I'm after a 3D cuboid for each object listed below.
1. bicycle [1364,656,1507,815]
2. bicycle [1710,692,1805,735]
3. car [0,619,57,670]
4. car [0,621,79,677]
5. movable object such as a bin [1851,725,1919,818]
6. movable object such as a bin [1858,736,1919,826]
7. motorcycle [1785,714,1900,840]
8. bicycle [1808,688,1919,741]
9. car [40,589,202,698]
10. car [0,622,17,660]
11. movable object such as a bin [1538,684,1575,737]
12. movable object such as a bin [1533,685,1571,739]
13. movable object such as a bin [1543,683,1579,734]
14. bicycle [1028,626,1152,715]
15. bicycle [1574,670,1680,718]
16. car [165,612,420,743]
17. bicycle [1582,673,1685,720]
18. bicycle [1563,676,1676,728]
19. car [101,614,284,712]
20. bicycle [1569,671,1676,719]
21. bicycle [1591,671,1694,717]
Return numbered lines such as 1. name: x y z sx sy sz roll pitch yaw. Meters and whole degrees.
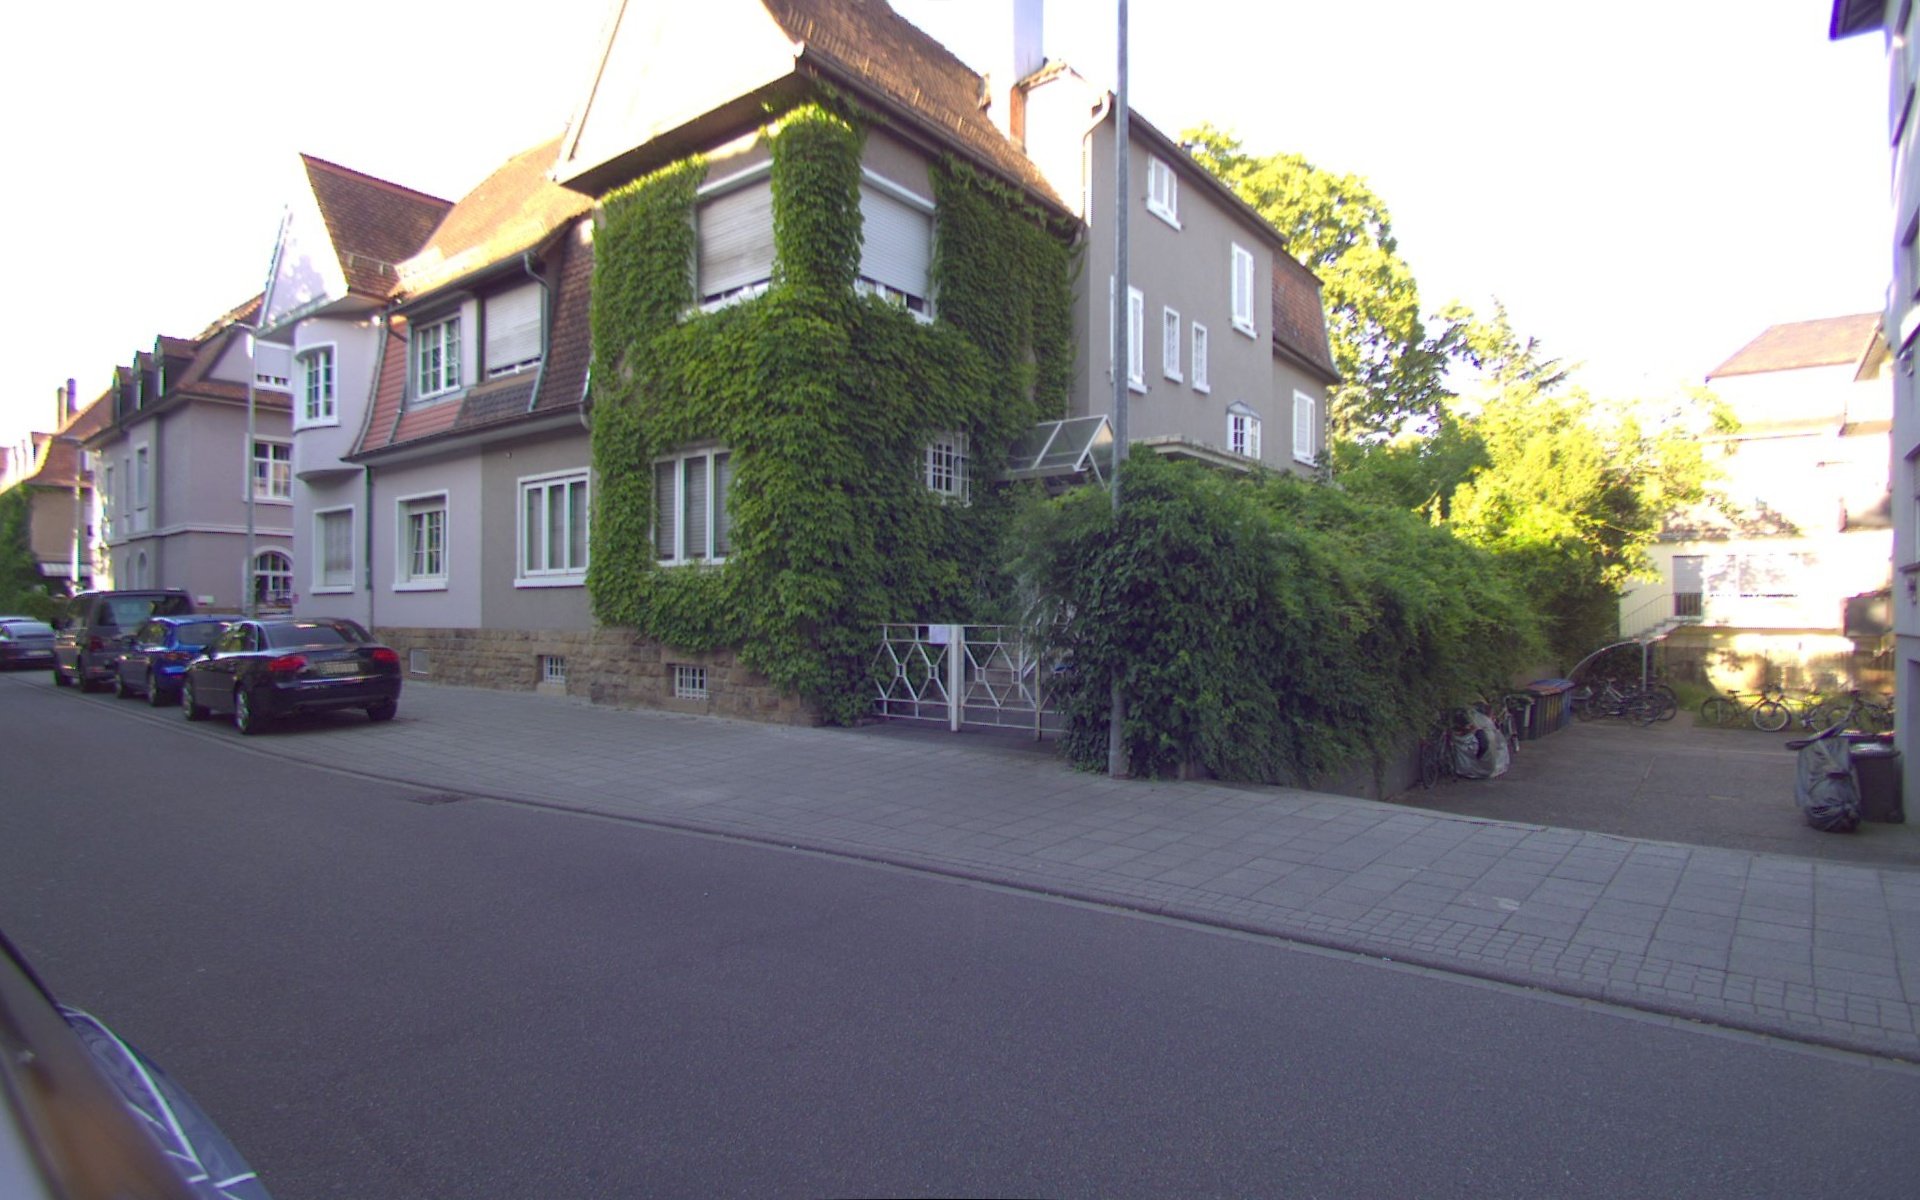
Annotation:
1. bicycle: 6.965 1.806 14.631 0.971 1.907 4.138 -1 -3 38
2. bicycle: 19.032 2.700 24.181 1.754 0.886 0.558 -1 -4 42
3. car: -30.036 1.363 31.900 4.061 1.478 1.907 -1 1 42
4. car: -26.022 1.325 28.168 4.063 1.394 1.906 -1 1 44
5. movable object such as a bin: 12.440 2.285 13.607 0.611 1.123 0.792 -1 -4 37
6. movable object such as a bin: 11.858 2.288 12.845 0.611 1.045 0.532 -1 -4 37
7. motorcycle: 10.849 2.133 12.504 0.742 1.305 1.565 -1 -2 30
8. bicycle: 20.509 2.572 22.907 2.005 1.080 0.558 -1 -4 42
9. car: -17.386 0.831 20.889 4.610 1.990 1.819 -1 0 41
10. car: -36.189 1.519 37.375 3.676 1.372 1.641 -1 0 42
11. movable object such as a bin: 13.317 2.449 22.596 0.611 1.123 0.792 -1 -4 37
12. movable object such as a bin: 12.841 2.412 21.953 0.611 1.123 0.792 -1 -4 37
13. movable object such as a bin: 13.788 2.483 23.227 0.611 1.123 0.792 -1 -4 37
14. bicycle: 1.842 0.939 14.065 0.476 1.111 2.172 -2 -1 45
15. bicycle: 18.196 2.543 27.648 2.338 1.186 0.685 -1 -4 42
16. car: -9.264 0.939 13.894 4.426 1.457 1.783 -1 0 41
17. bicycle: 18.752 2.662 28.212 2.338 1.186 0.685 -1 -4 42
18. bicycle: 16.380 2.522 25.184 2.294 1.142 0.685 -1 -4 42
19. car: -13.496 1.018 17.720 4.060 1.457 1.745 -1 0 41
20. bicycle: 17.645 2.521 26.995 2.338 1.142 0.685 -1 -4 42
21. bicycle: 19.337 2.643 28.710 2.338 1.186 0.685 -1 -4 42
